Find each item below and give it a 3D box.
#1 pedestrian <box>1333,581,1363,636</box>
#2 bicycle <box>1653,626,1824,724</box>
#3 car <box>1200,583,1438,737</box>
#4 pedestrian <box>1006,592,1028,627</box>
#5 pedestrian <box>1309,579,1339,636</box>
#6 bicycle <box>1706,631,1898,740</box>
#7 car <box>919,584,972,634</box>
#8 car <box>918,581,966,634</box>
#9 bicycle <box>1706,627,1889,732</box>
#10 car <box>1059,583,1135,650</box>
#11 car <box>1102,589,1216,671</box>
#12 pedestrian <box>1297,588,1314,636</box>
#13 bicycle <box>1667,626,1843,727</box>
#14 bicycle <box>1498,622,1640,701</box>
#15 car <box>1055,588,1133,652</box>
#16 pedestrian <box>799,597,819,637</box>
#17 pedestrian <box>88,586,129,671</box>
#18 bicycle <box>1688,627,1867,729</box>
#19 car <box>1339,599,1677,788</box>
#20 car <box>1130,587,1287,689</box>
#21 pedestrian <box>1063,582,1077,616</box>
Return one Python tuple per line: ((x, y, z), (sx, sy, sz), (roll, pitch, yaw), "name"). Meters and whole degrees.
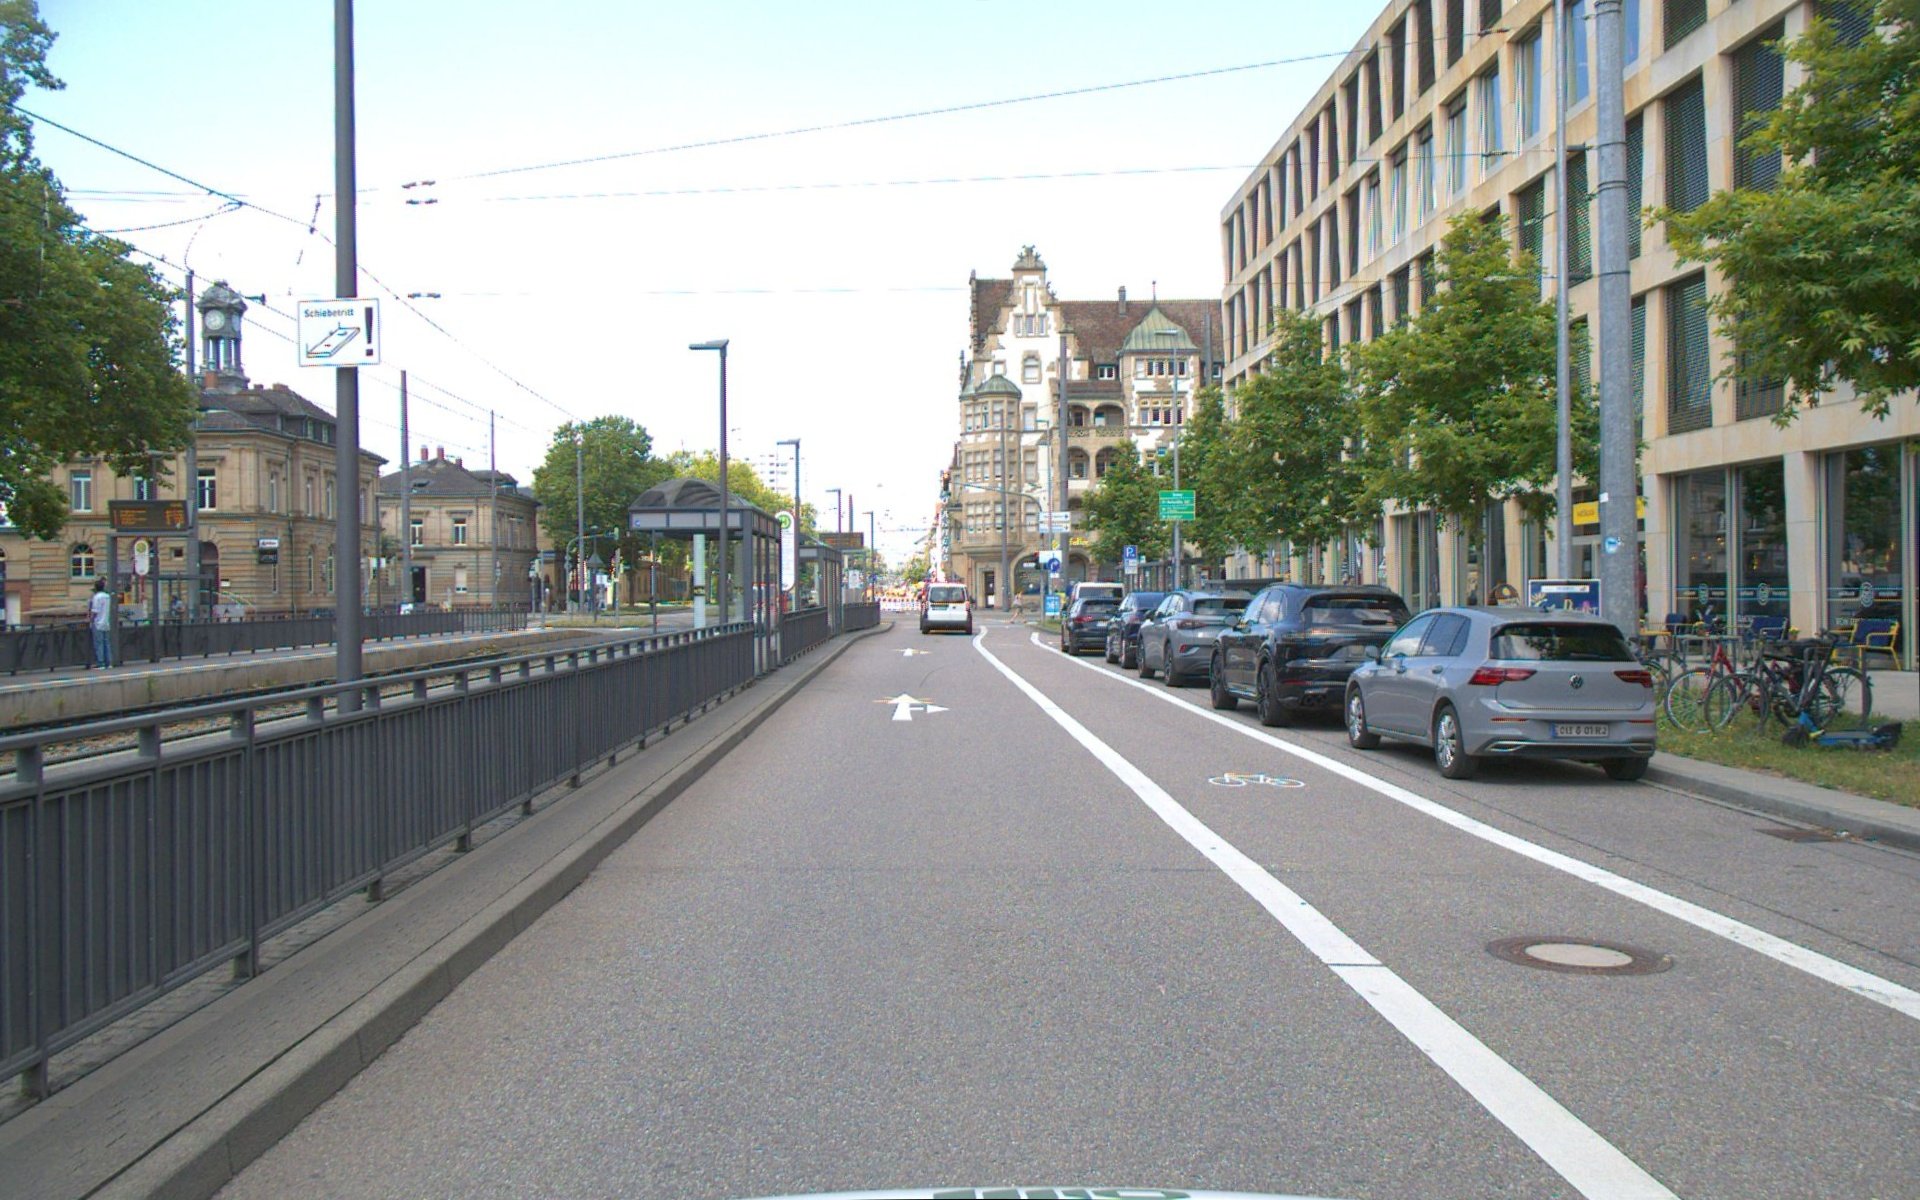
((12.148, 0.252, 51.850), (0.745, 1.699, 0.659), (-1, 0, -2), "pedestrian")
((8.492, 0.812, 18.055), (1.717, 1.003, 0.325), (-2, 0, -2), "bicycle")
((4.371, 0.647, 20.932), (1.703, 1.698, 4.838), (1, 0, -3), "car")
((2.694, 0.467, 77.818), (0.793, 1.599, 0.626), (-3, 0, -18), "pedestrian")
((11.393, 0.228, 51.817), (0.745, 1.754, 0.659), (-1, 0, -2), "pedestrian")
((8.257, 0.833, 16.227), (1.717, 1.003, 0.325), (-2, 0, -2), "bicycle")
((-0.558, 0.311, 60.360), (1.831, 1.777, 3.998), (0, 0, -2), "car")
((-0.767, 0.296, 66.648), (1.831, 2.055, 3.998), (0, 0, -2), "car")
((8.609, 0.813, 17.009), (1.717, 1.003, 0.325), (-2, 0, -2), "bicycle")
((3.841, 0.433, 46.858), (1.675, 1.828, 3.359), (1, 0, -3), "car")
((4.230, 0.603, 35.800), (1.770, 1.619, 4.304), (1, 0, -2), "car")
((10.806, 0.368, 51.717), (0.430, 1.474, 0.433), (-1, 0, -2), "pedestrian")
((8.504, 0.813, 17.707), (1.717, 1.003, 0.325), (-2, 0, -2), "bicycle")
((8.412, 0.845, 22.862), (1.786, 1.048, 0.432), (-1, 0, 1), "bicycle")
((3.347, 0.468, 41.888), (1.414, 1.495, 4.090), (1, 0, -3), "car")
((-4.540, 0.509, 49.736), (0.503, 1.160, 0.501), (-3, 0, -2), "pedestrian")
((-17.543, 0.577, 34.078), (0.490, 1.713, 0.643), (-1, 0, -1), "pedestrian")
((8.564, 0.813, 17.350), (1.717, 1.003, 0.325), (-2, 0, -2), "bicycle")
((4.875, 0.757, 15.326), (1.559, 1.459, 4.104), (1, 0, -3), "car")
((4.279, 0.592, 29.172), (1.771, 1.619, 4.838), (1, 0, -3), "car")
((5.295, -0.042, 79.562), (0.523, 1.599, 0.542), (-3, 0, -4), "pedestrian")
